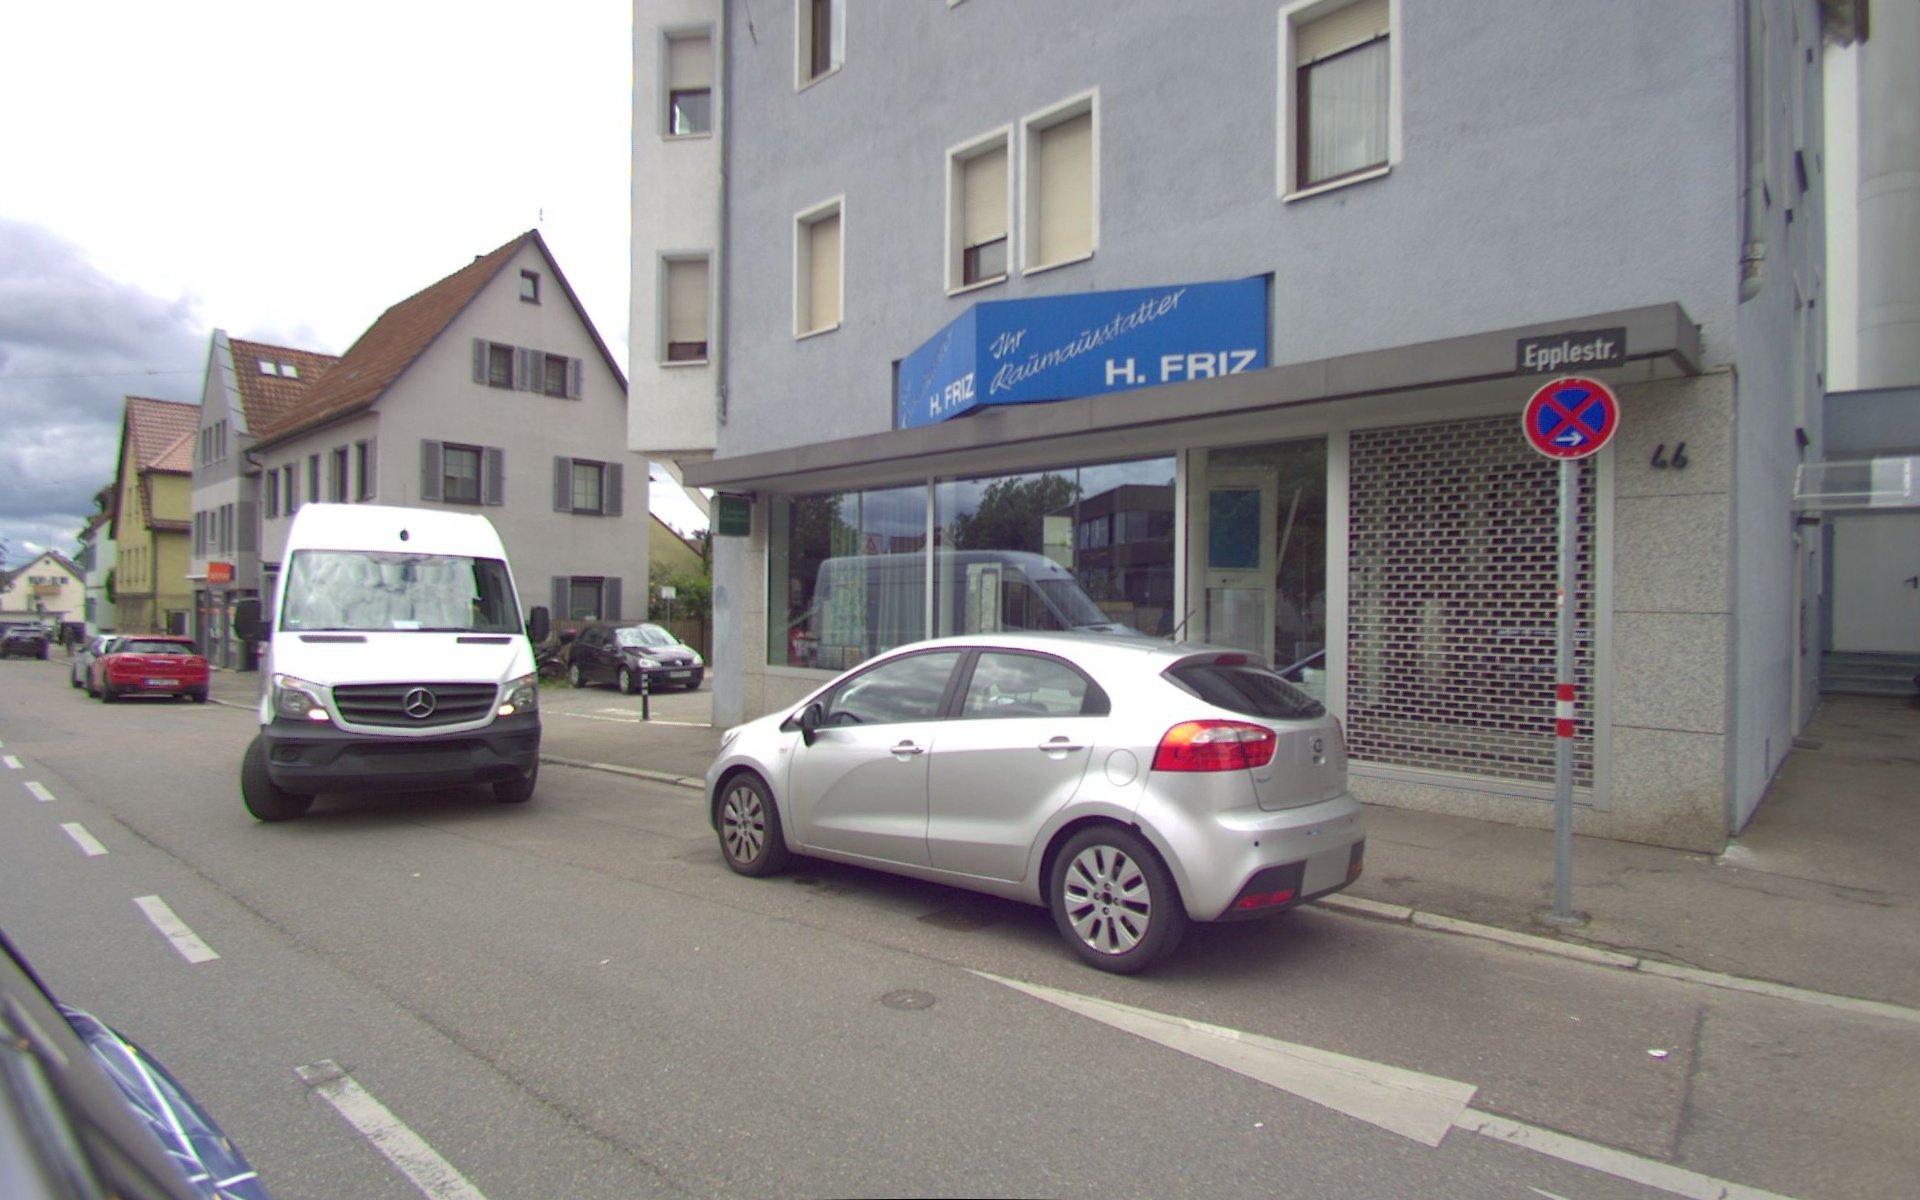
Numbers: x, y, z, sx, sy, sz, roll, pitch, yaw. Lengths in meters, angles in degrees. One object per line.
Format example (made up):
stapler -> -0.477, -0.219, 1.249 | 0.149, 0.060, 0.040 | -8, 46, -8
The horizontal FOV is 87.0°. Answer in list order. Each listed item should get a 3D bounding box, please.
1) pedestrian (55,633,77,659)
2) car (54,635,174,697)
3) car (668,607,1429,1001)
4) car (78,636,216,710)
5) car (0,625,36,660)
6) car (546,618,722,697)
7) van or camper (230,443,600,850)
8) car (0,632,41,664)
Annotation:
pedestrian -> -47.738, 2.464, 54.065 | 0.551, 1.386, 0.820 | -2, -3, 44
car -> -22.259, 1.704, 26.574 | 4.351, 1.485, 1.758 | -2, -5, 42
car -> 0.242, 0.814, 5.688 | 3.999, 1.422, 1.778 | -2, -3, 42
car -> -18.120, 1.584, 22.489 | 4.354, 1.485, 1.838 | -3, -5, 45
car -> -52.129, 2.322, 55.283 | 4.352, 1.863, 2.083 | -2, -3, 43
car -> -7.477, 1.246, 22.964 | 4.417, 1.564, 1.971 | -2, -1, 45
van or camper -> -5.448, 0.404, 9.785 | 2.287, 2.627, 6.224 | 1, -2, -33
car -> -47.358, 2.389, 50.622 | 4.352, 1.580, 1.695 | -2, -3, 43
